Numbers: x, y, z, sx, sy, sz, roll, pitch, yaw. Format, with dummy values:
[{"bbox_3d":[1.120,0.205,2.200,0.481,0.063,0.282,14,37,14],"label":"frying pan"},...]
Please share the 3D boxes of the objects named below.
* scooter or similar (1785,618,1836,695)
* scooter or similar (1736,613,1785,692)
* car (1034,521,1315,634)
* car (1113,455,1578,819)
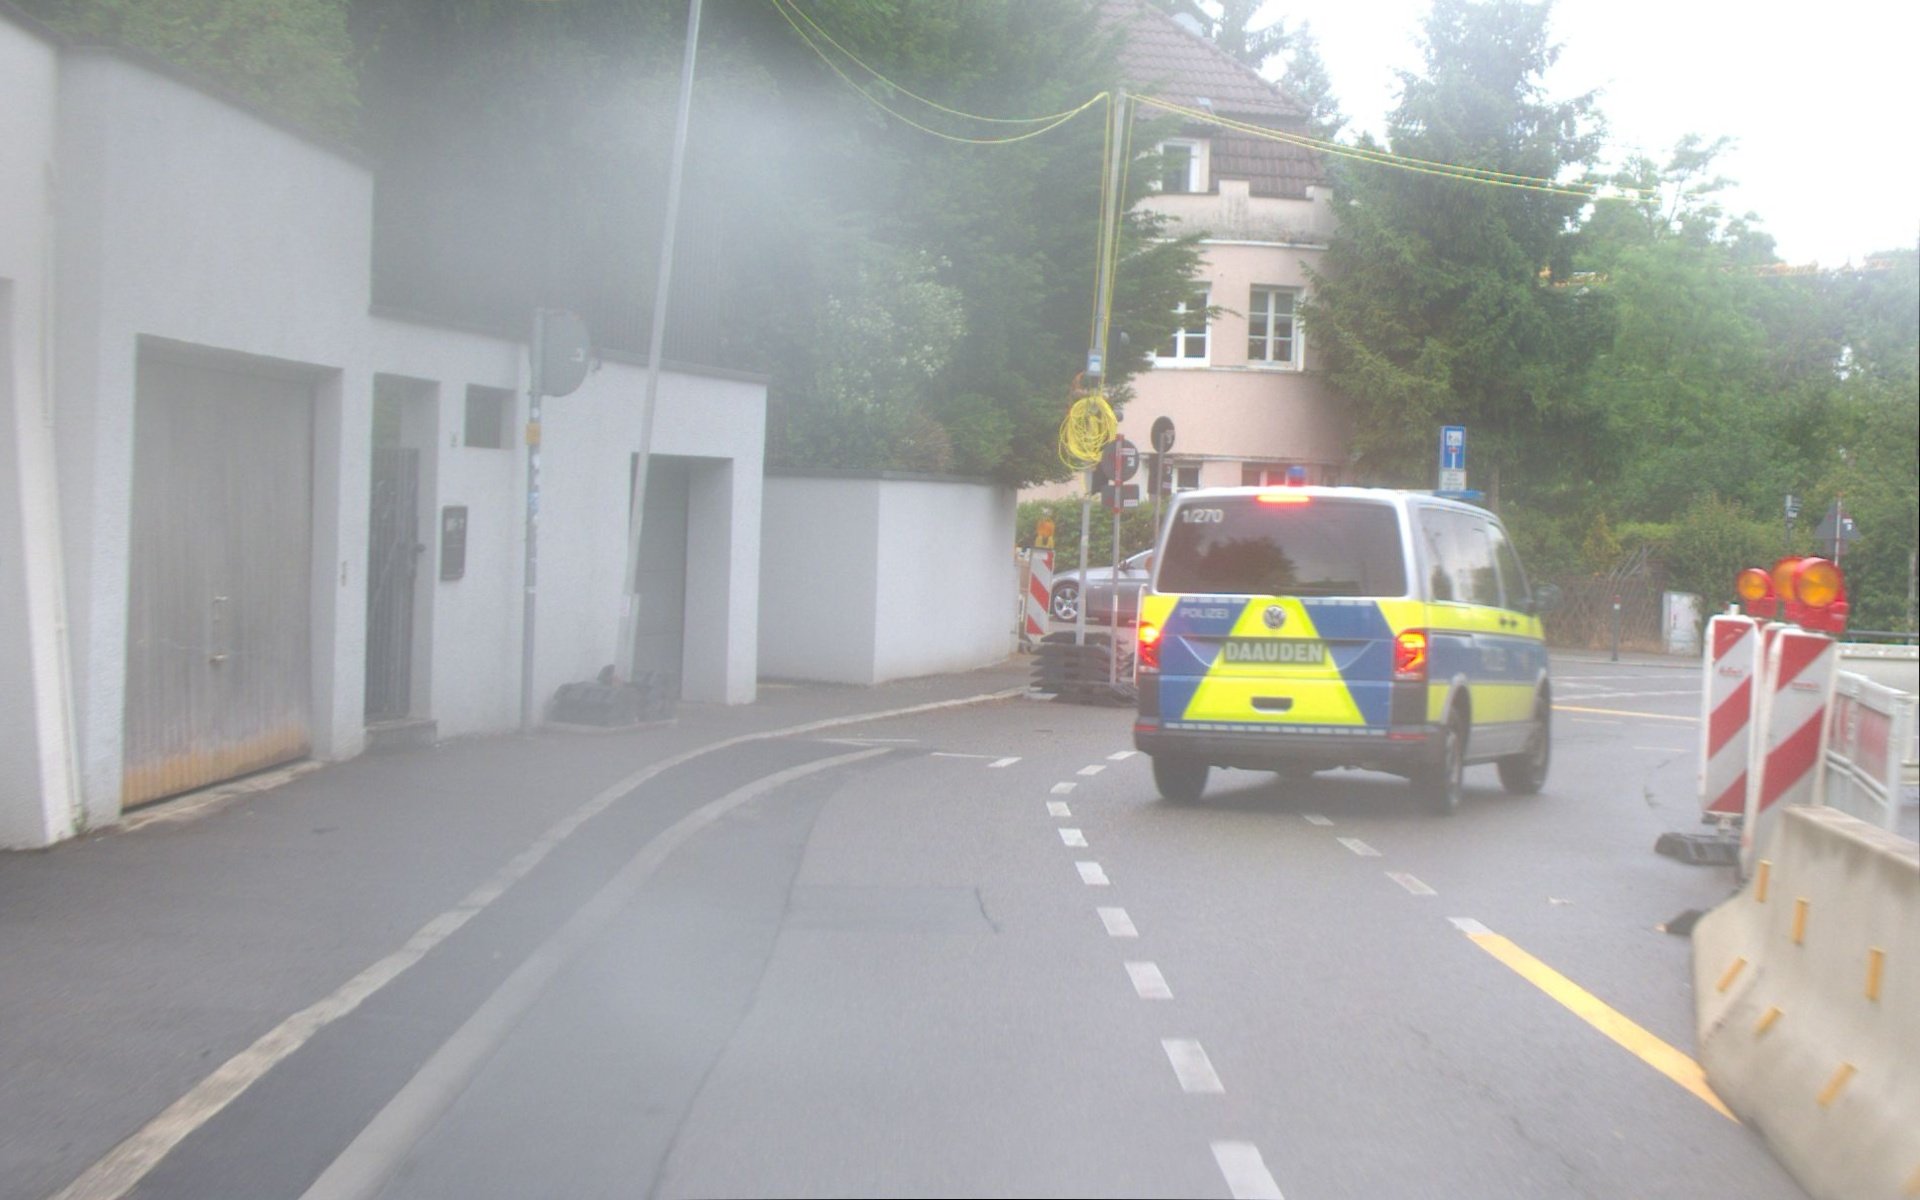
[{"bbox_3d":[12.982,0.861,52.517,0.464,1.140,0.995,4,0,0],"label":"scooter or similar"},{"bbox_3d":[12.343,0.803,53.008,0.464,1.182,1.025,4,0,1],"label":"scooter or similar"},{"bbox_3d":[3.382,-0.359,54.368,3.994,1.512,1.725,4,0,30],"label":"car"},{"bbox_3d":[2.599,0.244,22.119,1.910,2.003,4.435,4,0,19],"label":"car"}]
